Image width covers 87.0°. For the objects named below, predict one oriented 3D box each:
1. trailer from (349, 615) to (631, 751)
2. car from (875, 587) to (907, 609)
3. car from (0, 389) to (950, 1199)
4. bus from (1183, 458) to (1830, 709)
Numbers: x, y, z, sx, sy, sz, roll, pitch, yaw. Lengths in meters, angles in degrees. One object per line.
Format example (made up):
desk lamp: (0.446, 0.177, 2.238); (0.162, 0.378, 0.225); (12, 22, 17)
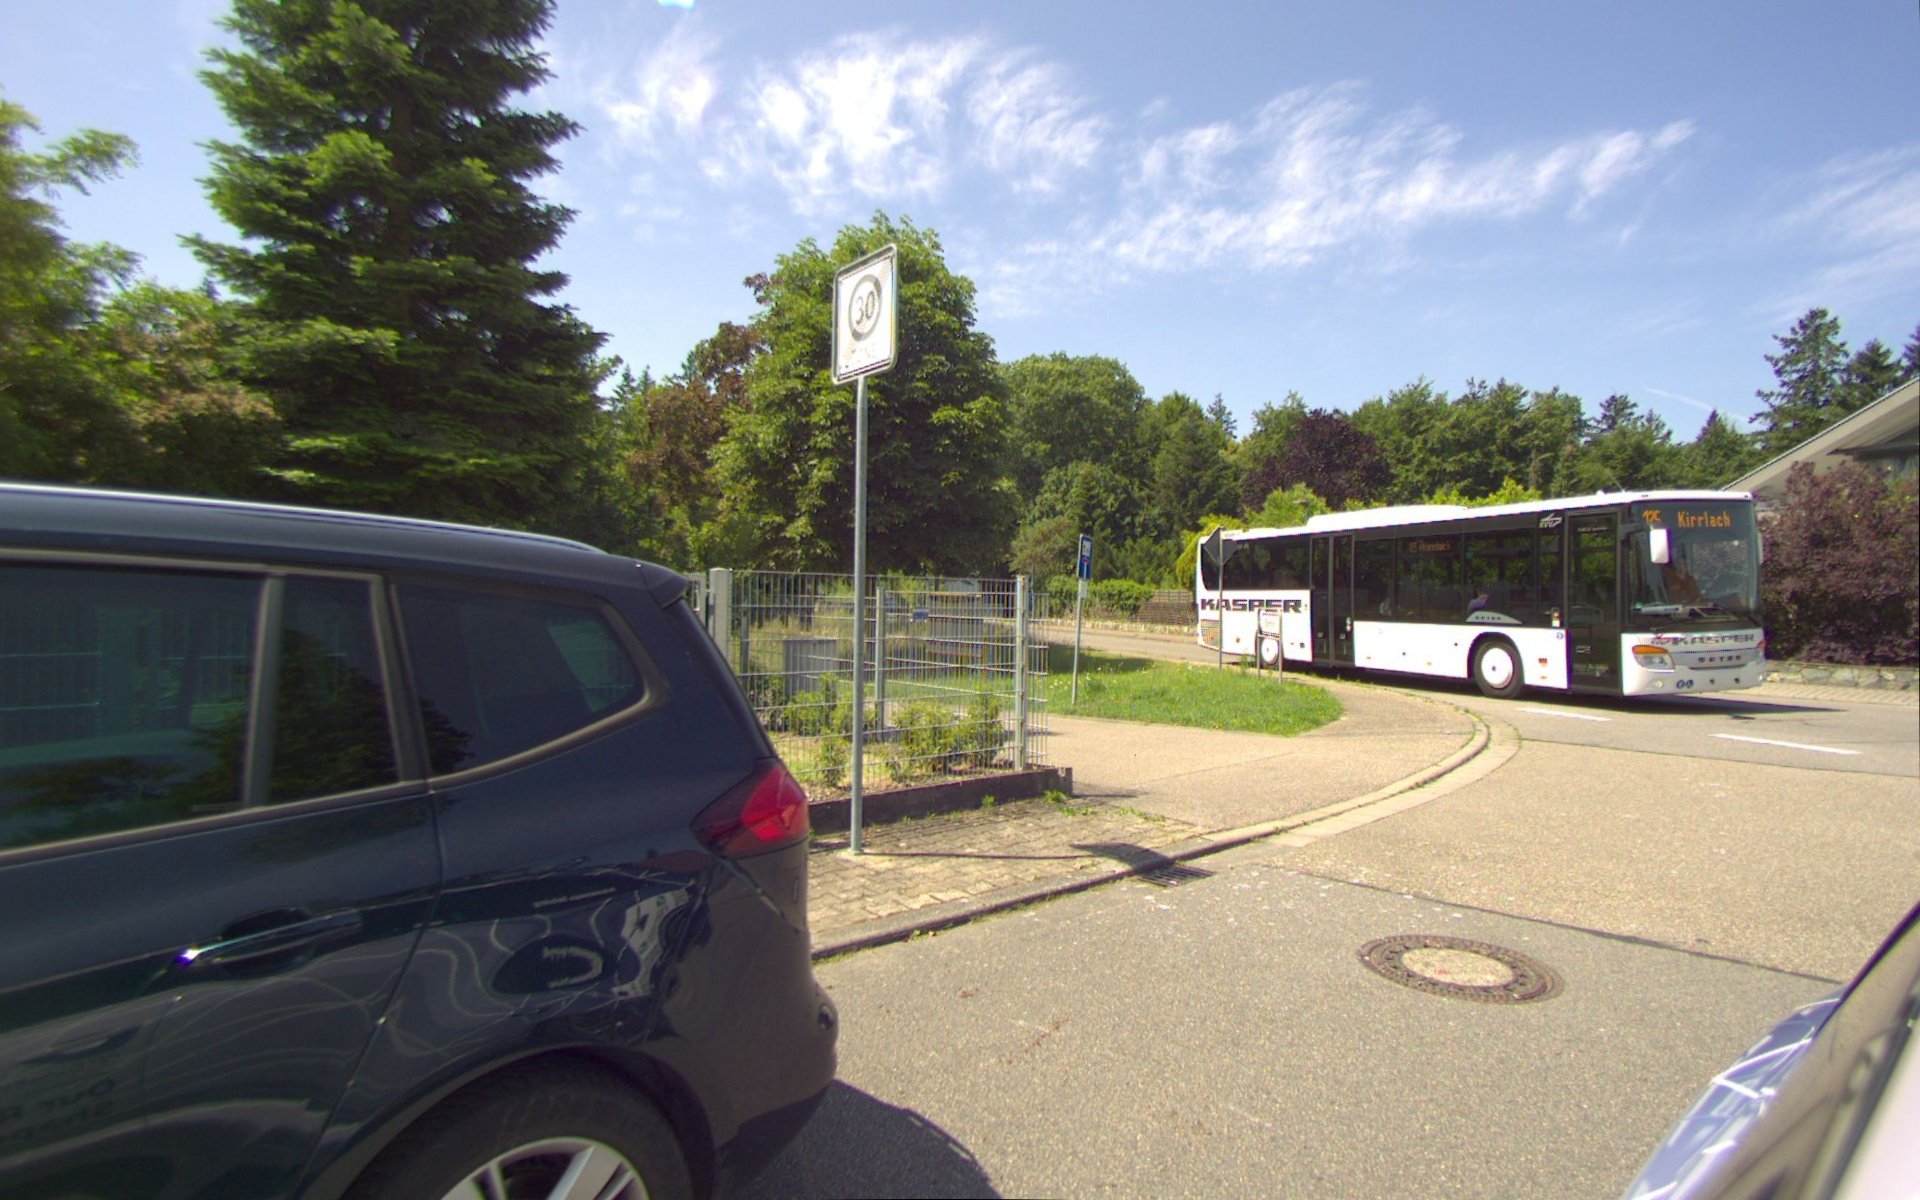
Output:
trailer: (-4.422, 0.712, 9.660); (1.101, 1.098, 2.190); (1, 0, 40)
car: (-5.446, -0.163, 79.200); (1.731, 1.639, 4.008); (2, -1, -15)
car: (-2.397, 0.570, 1.445); (4.600, 1.683, 1.966); (1, 0, -41)
bus: (8.873, -0.228, 19.796); (3.124, 3.285, 12.737); (1, 0, -16)
